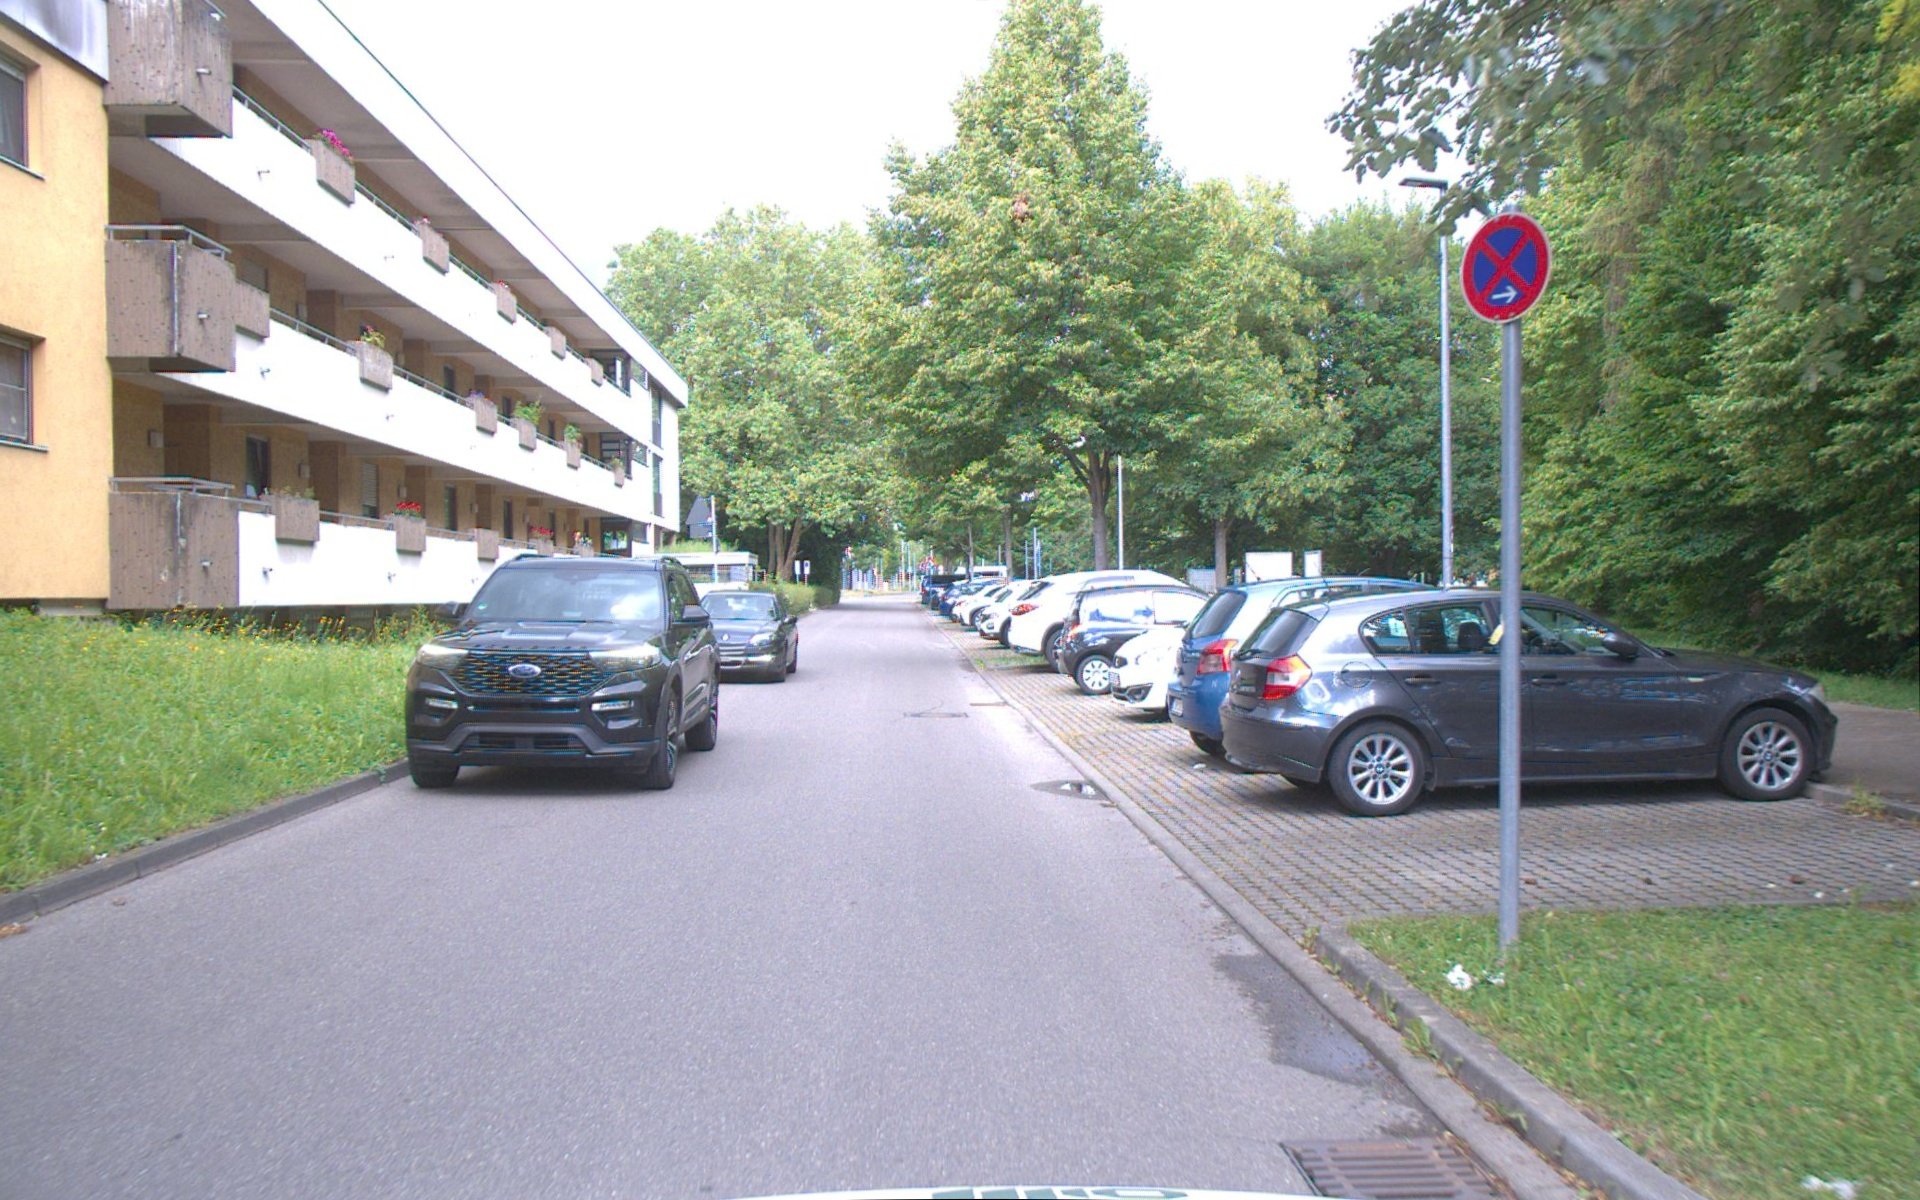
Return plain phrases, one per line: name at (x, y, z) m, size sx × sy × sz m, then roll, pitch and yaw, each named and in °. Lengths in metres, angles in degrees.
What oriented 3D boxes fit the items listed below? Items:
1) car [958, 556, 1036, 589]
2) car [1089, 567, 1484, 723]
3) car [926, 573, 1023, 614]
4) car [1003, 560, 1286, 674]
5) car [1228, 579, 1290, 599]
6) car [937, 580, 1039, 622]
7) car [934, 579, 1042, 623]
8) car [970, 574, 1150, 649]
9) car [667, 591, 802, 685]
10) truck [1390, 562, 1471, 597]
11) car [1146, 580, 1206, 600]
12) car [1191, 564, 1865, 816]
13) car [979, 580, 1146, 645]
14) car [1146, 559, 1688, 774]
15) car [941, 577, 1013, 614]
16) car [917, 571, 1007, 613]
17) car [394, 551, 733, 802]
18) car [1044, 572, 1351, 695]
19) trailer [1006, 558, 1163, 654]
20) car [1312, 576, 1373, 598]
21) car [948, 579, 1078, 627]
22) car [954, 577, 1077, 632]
car at (2.951, -2.152, 130.570) m, size 6.126 × 2.519 × 2.140 m, roll 1°, pitch 0°, yaw 2°
car at (3.659, 0.475, 18.928) m, size 4.079 × 1.598 × 1.783 m, roll -1°, pitch 0°, yaw -7°
car at (0.636, -0.306, 76.446) m, size 4.327 × 1.705 × 2.081 m, roll -2°, pitch 1°, yaw -3°
car at (3.145, 0.283, 28.985) m, size 4.719 × 1.722 × 1.974 m, roll -2°, pitch 0°, yaw 1°
car at (22.346, -0.830, 123.724) m, size 4.335 × 1.453 × 1.704 m, roll -1°, pitch 0°, yaw 4°
car at (1.128, 0.026, 68.452) m, size 3.994 × 1.543 × 1.849 m, roll -2°, pitch 0°, yaw -6°
car at (1.040, 0.032, 63.376) m, size 3.990 × 1.481 × 1.850 m, roll -2°, pitch 0°, yaw -2°
car at (2.344, 0.265, 39.436) m, size 4.033 × 1.575 × 1.859 m, roll -2°, pitch 0°, yaw -5°
car at (-3.671, 0.570, 27.601) m, size 1.875 × 1.436 × 4.421 m, roll 0°, pitch 0°, yaw -3°
truck at (34.941, -1.504, 122.940) m, size 5.390 × 2.468 × 2.194 m, roll -1°, pitch 0°, yaw 4°
car at (16.208, -0.762, 124.203) m, size 4.300 × 1.453 × 1.704 m, roll -1°, pitch 0°, yaw 3°
car at (3.766, 0.555, 11.401) m, size 4.006 × 1.489 × 1.784 m, roll -1°, pitch 0°, yaw -4°
car at (2.569, 0.295, 41.971) m, size 3.933 × 1.447 × 1.789 m, roll -2°, pitch 0°, yaw -8°
car at (3.750, 0.509, 14.003) m, size 4.054 × 1.598 × 1.784 m, roll -1°, pitch 0°, yaw -4°
car at (0.779, -0.219, 79.061) m, size 3.311 × 1.602 × 1.796 m, roll -2°, pitch 1°, yaw -2°
car at (0.073, -0.464, 91.966) m, size 4.854 × 2.048 × 2.165 m, roll -3°, pitch 0°, yaw -1°
car at (-3.107, 0.519, 14.056) m, size 1.875 × 1.747 × 5.056 m, roll 0°, pitch 0°, yaw -3°
car at (3.312, 0.448, 23.637) m, size 4.074 × 1.598 × 1.851 m, roll -1°, pitch 0°, yaw -1°
trailer at (2.556, 0.123, 34.263) m, size 2.971 × 1.822 × 1.562 m, roll -2°, pitch 0°, yaw -5°
car at (28.496, -0.992, 123.258) m, size 4.192 × 1.553 × 1.704 m, roll -1°, pitch 0°, yaw 4°
car at (1.843, 0.087, 58.251) m, size 4.396 × 1.480 × 1.845 m, roll -2°, pitch 0°, yaw -3°
car at (1.730, 0.142, 52.363) m, size 3.761 × 1.542 × 1.881 m, roll -2°, pitch 0°, yaw 0°
